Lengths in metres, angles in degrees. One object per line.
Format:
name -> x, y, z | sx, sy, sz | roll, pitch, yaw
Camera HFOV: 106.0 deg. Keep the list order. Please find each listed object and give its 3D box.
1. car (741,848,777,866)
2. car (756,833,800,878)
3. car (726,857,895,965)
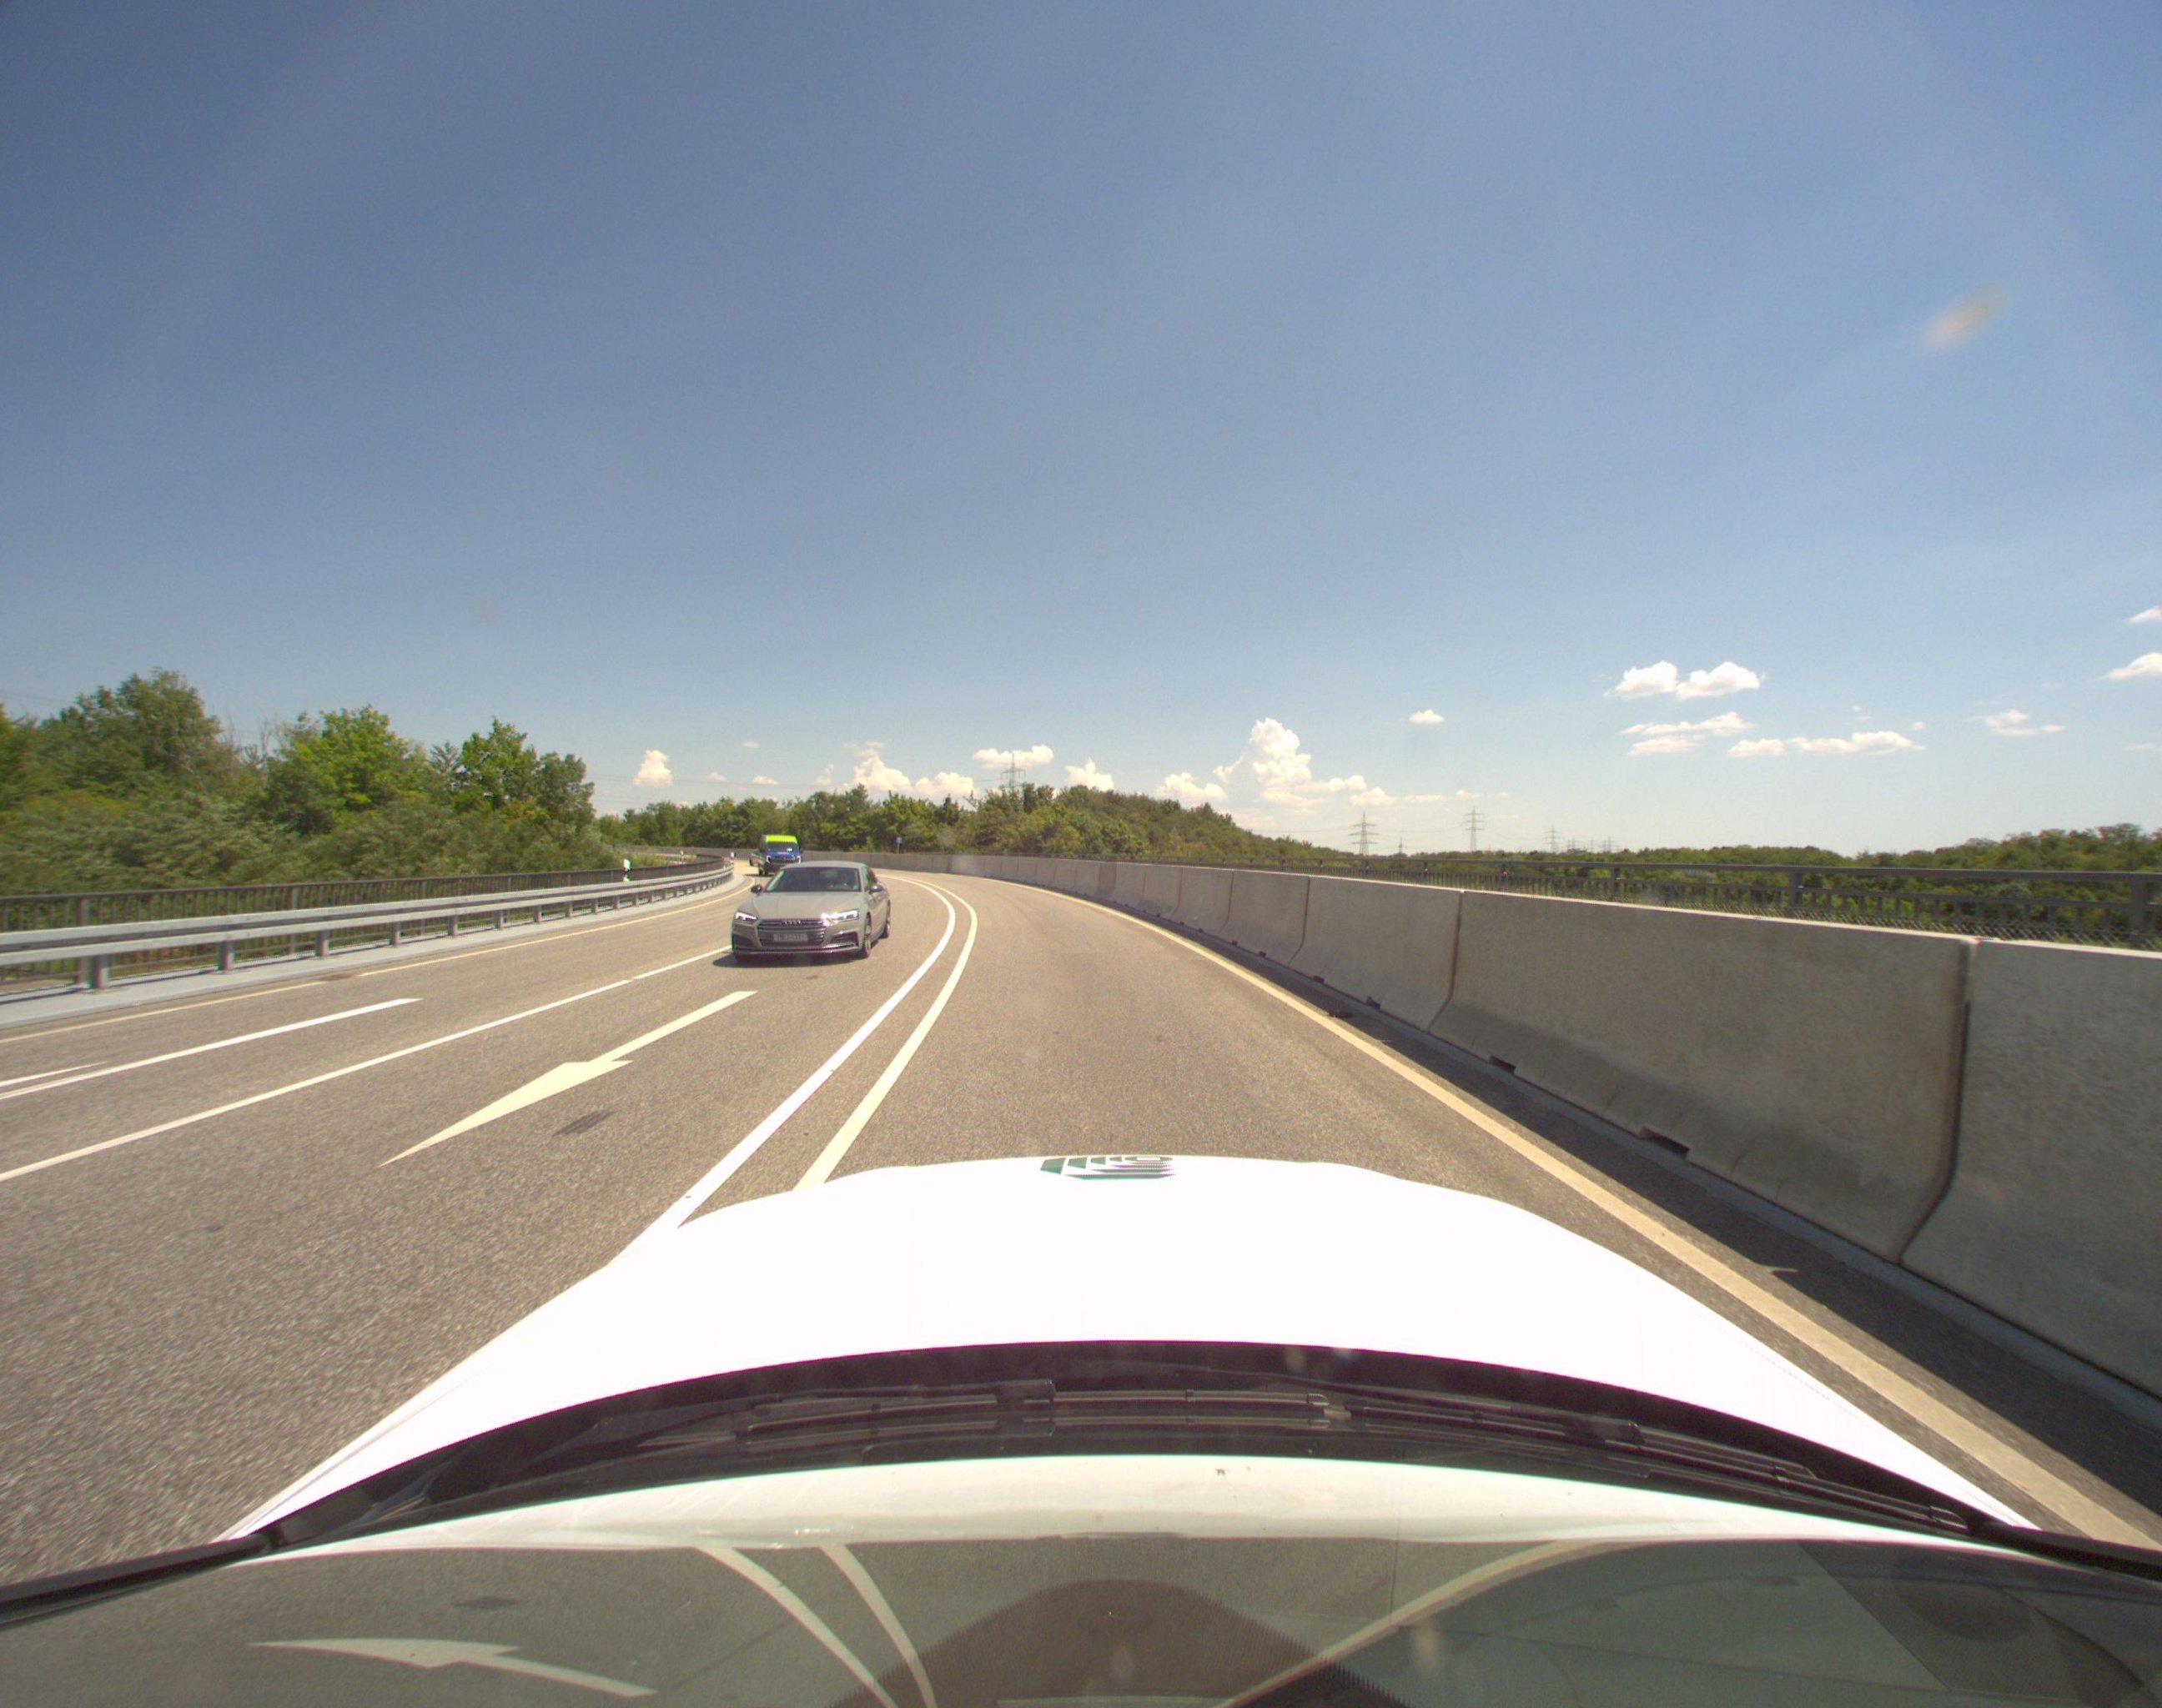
car -> -27.594, 0.290, 69.743 | 1.756, 1.459, 4.317 | -2, 1, -37
car -> -18.361, -0.018, 49.177 | 2.003, 2.484, 5.437 | -3, 3, -25
car -> -4.096, 0.764, 13.035 | 1.777, 1.384, 4.271 | -1, 0, -8
